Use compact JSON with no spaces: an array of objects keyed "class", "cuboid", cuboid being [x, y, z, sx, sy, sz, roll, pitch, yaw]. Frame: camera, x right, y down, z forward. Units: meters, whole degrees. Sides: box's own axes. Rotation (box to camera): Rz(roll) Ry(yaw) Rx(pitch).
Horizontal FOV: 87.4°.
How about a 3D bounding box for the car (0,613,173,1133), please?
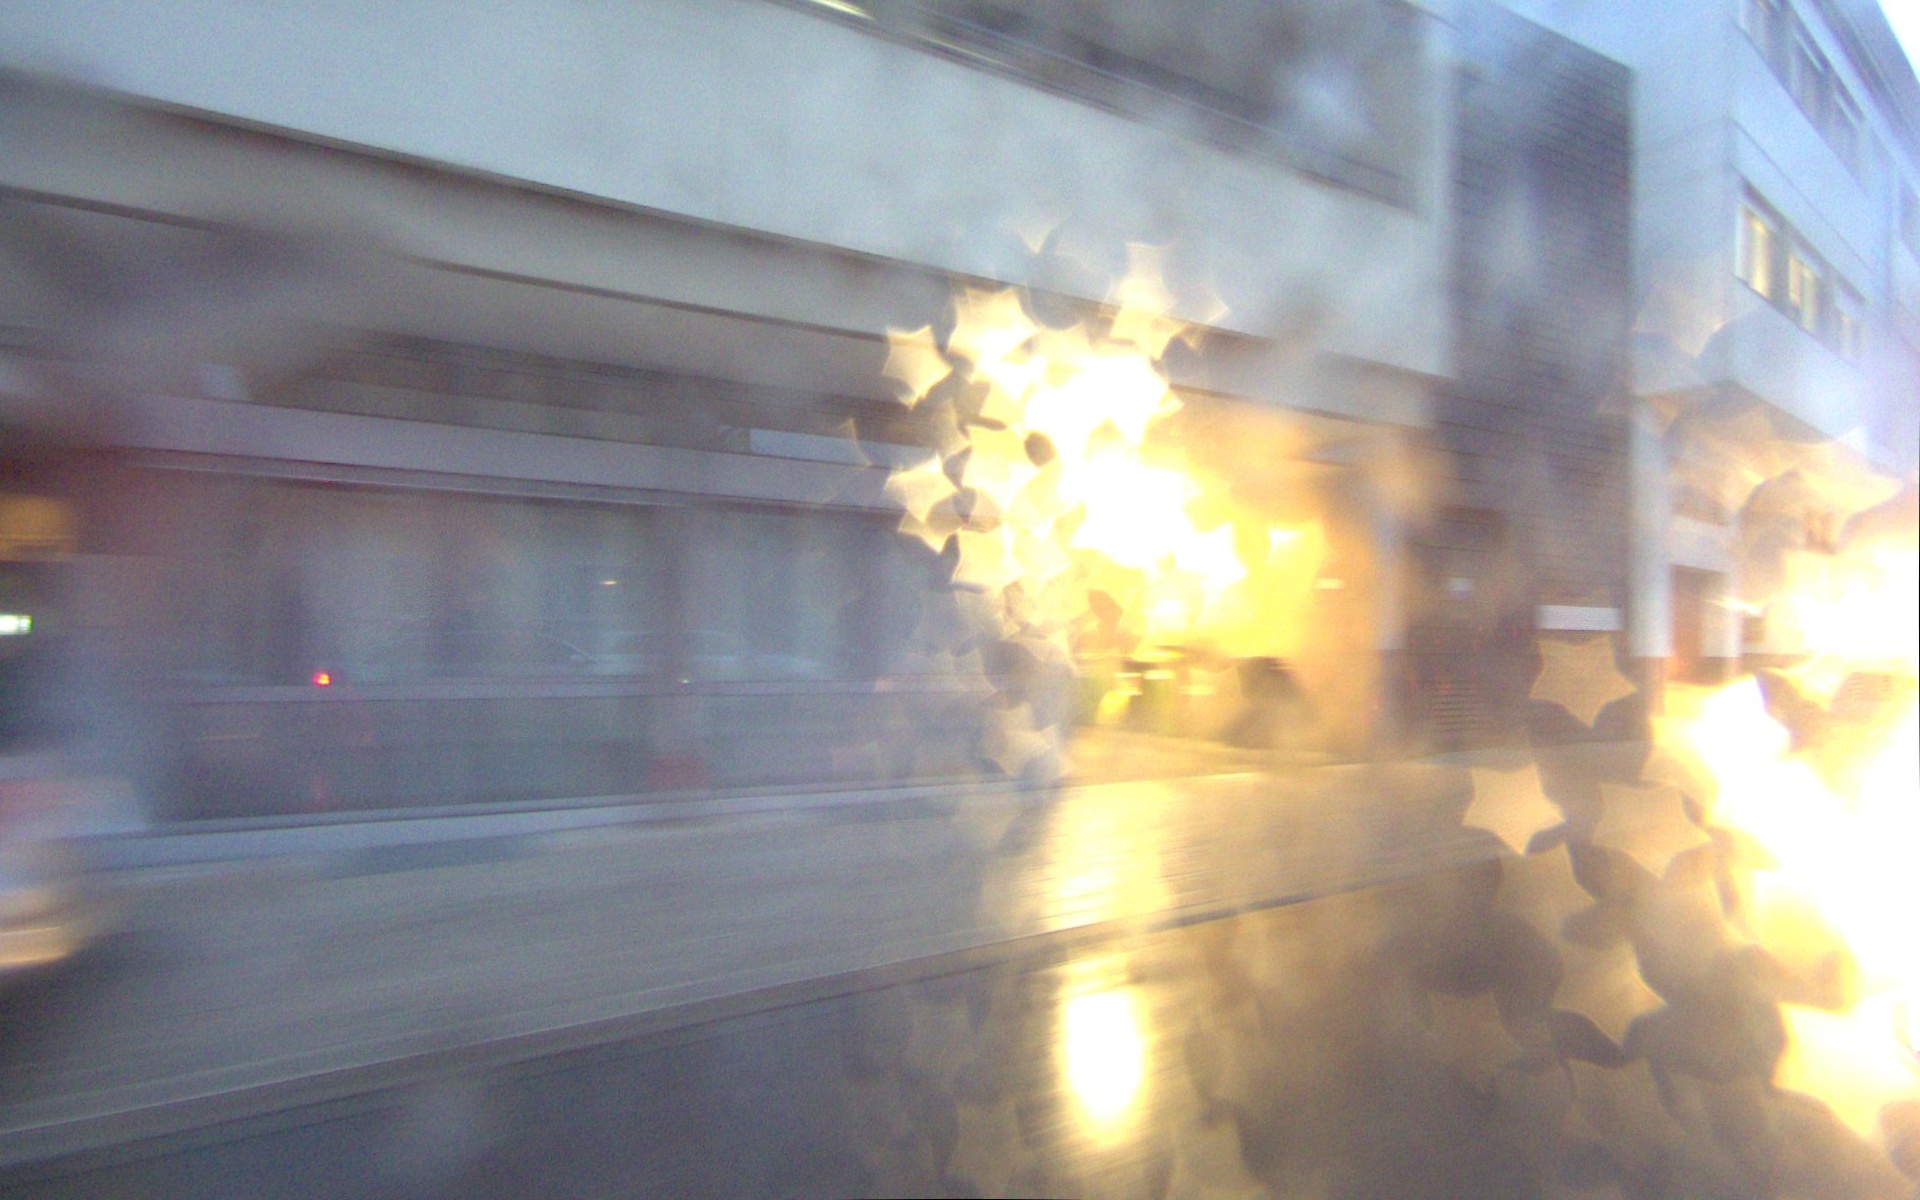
[{"class":"car","cuboid":[-4.960,0.771,2.595,4.376,1.466,1.667,1,0,-30]}]
